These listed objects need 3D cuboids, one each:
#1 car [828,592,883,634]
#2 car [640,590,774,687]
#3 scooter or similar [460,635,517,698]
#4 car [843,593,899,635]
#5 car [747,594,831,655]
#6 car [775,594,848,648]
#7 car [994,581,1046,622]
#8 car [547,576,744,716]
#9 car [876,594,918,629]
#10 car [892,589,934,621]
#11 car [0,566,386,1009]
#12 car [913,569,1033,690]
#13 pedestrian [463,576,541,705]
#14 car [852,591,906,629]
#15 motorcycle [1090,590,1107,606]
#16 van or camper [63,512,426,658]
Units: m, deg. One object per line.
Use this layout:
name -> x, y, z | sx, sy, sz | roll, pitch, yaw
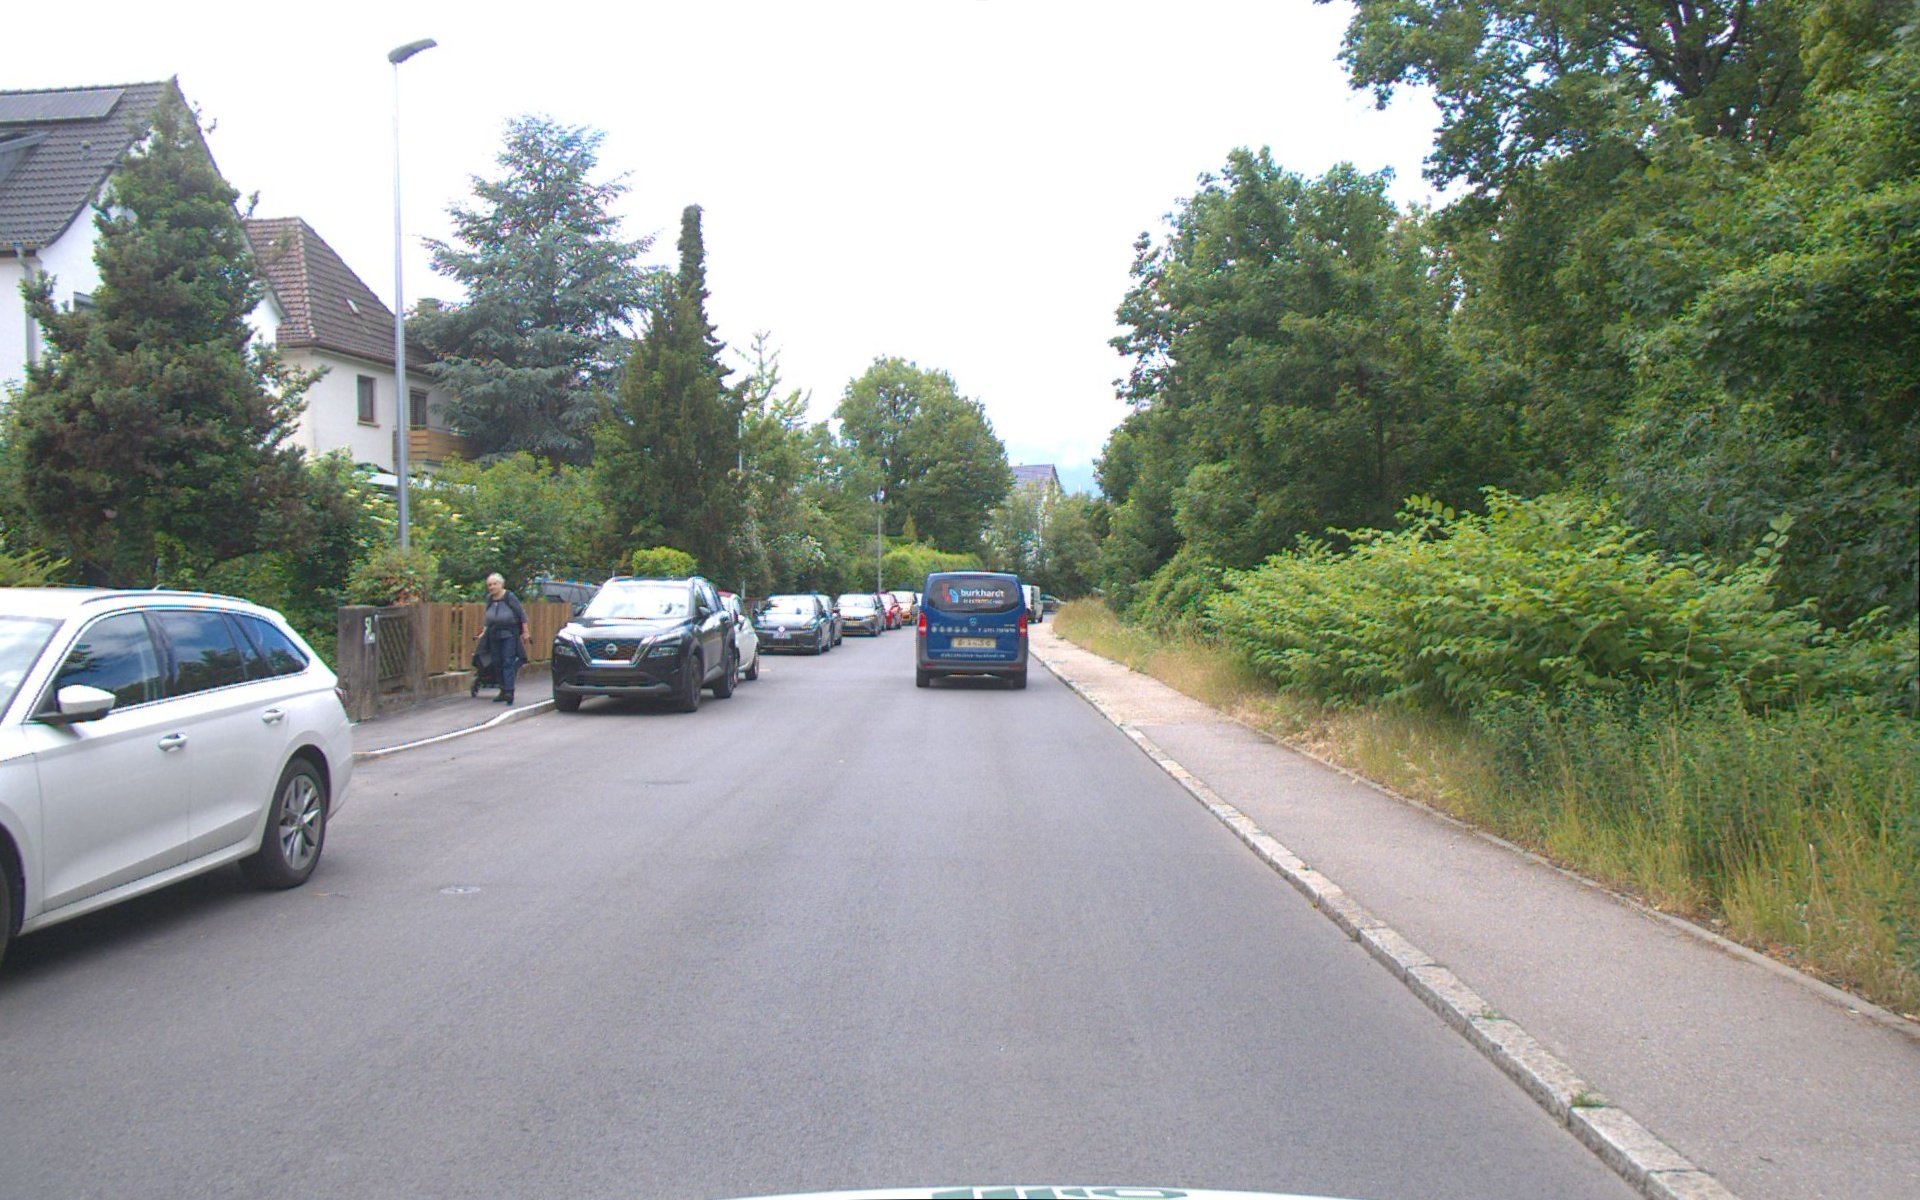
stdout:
car -> -3.675, 0.428, 58.590 | 1.672, 1.434, 4.160 | 0, 0, 0
car -> -4.249, 0.607, 28.302 | 1.672, 1.538, 3.946 | 0, 0, 0
scooter or similar -> -6.190, 0.871, 21.756 | 0.559, 0.792, 0.711 | 0, 0, -2
car -> -3.404, 0.516, 63.901 | 1.671, 1.541, 4.497 | 0, 0, 3
car -> -4.242, 0.568, 41.577 | 1.672, 1.441, 4.149 | 0, 0, 0
car -> -4.149, 0.549, 46.611 | 1.672, 1.441, 4.132 | 0, 0, 0
car -> 3.242, 0.085, 87.755 | 2.159, 2.100, 6.139 | 0, 0, 8
car -> -4.123, 0.546, 22.374 | 1.755, 1.693, 4.392 | 0, 0, 1
car -> -2.897, 0.521, 76.954 | 1.511, 1.541, 3.646 | 0, 0, 5
car -> -2.302, 0.247, 81.433 | 1.554, 1.541, 3.593 | 0, 0, 7
car -> -4.128, 0.639, 6.999 | 1.671, 1.538, 4.556 | 0, 0, 2
car -> 0.166, 0.451, 28.575 | 1.897, 1.913, 4.529 | 0, 0, -1
pedestrian -> -5.819, 0.507, 21.057 | 0.753, 1.602, 0.821 | 0, 0, 1
car -> -3.340, 0.402, 69.112 | 1.671, 1.541, 4.366 | 0, 0, 5
motorcycle -> 12.986, -0.174, 154.731 | 0.793, 1.511, 2.896 | 0, 0, 20
van or camper -> -14.565, -0.322, 33.843 | 6.537, 2.697, 2.326 | 2, 0, 9
